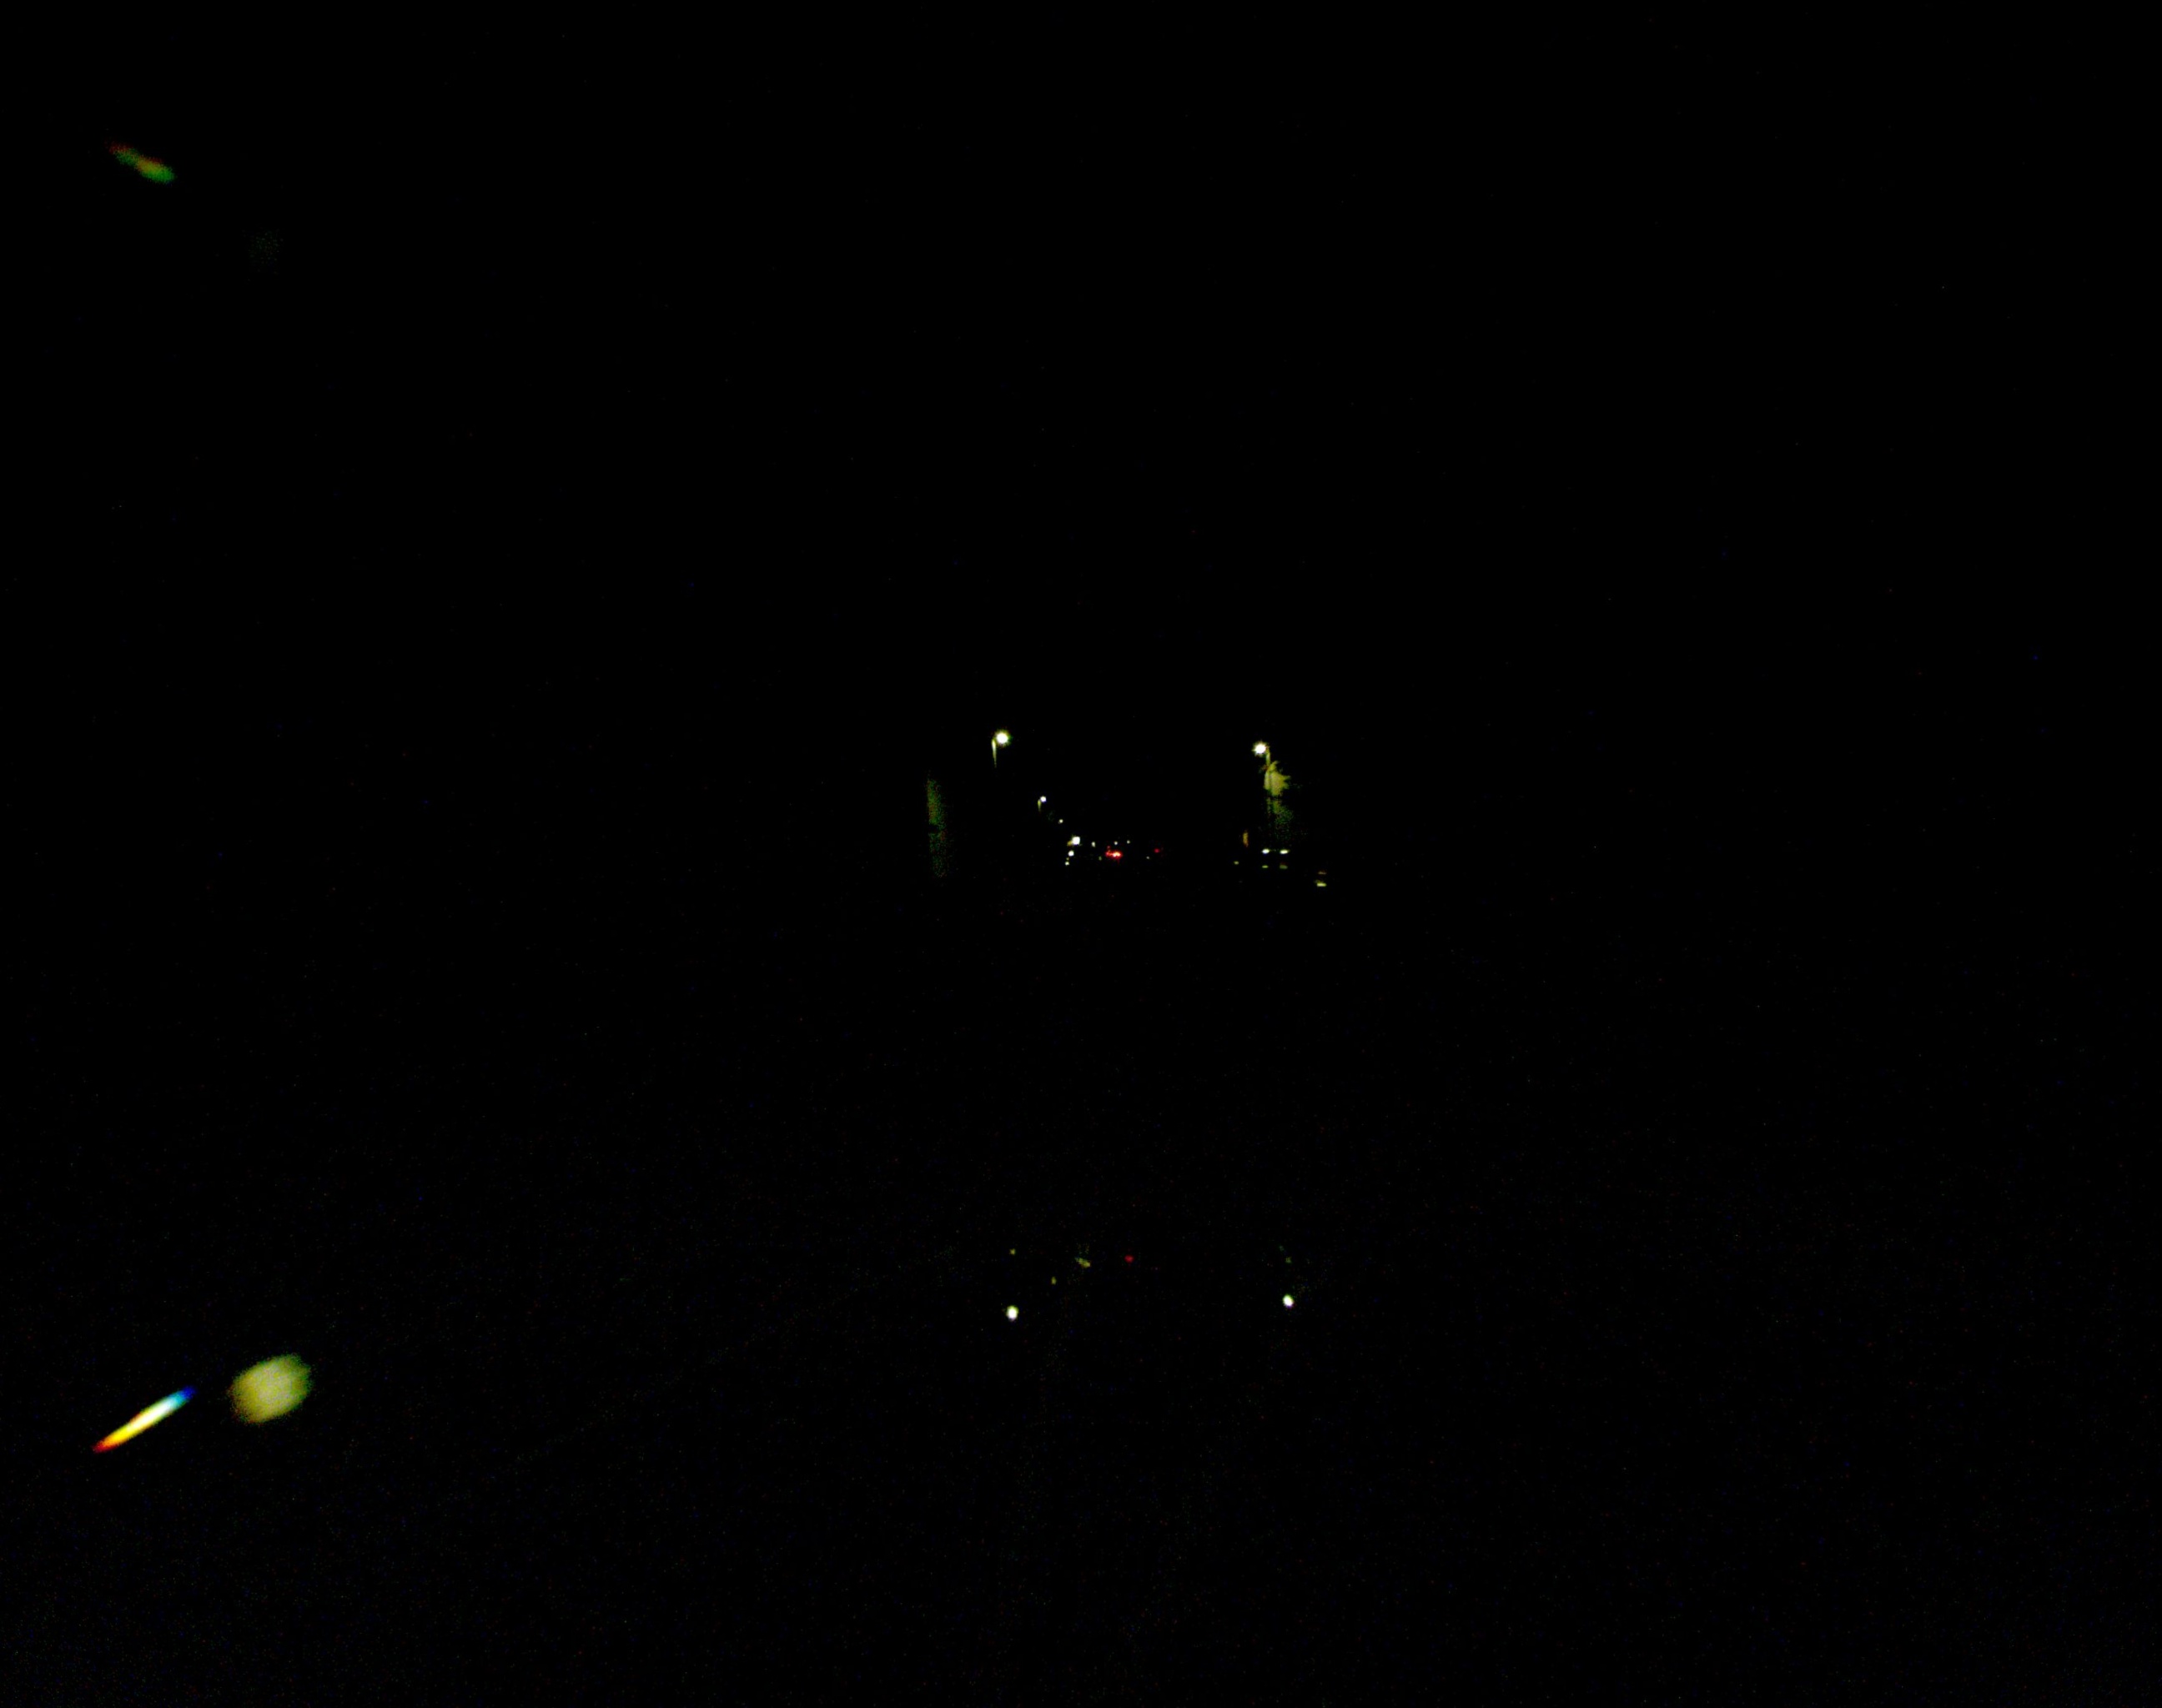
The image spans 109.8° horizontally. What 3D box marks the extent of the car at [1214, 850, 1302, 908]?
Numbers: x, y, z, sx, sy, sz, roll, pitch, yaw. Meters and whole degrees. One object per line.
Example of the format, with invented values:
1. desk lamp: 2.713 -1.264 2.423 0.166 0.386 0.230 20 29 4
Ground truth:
1. car: 5.179 0.671 22.779 1.692 1.501 4.279 -3 0 1

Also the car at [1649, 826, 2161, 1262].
1. car: 4.764 0.684 3.682 1.675 1.513 2.978 -5 0 -1

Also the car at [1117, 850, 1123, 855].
1. car: 13.109 -0.493 253.837 1.720 1.420 3.816 -2 0 4

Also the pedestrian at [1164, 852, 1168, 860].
1. pedestrian: 17.327 0.464 155.054 0.529 1.579 0.665 -3 1 -4

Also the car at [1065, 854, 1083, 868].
1. car: -0.756 0.788 86.143 1.747 1.560 4.209 -2 0 2

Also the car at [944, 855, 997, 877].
1. car: -7.800 0.830 53.887 3.514 1.516 1.820 1 1 0

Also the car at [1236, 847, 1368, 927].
1. car: 4.911 0.670 17.537 1.771 1.510 4.278 -4 0 1

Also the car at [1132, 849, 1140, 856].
1. car: 14.067 -0.292 193.266 1.814 1.637 3.804 -4 0 3

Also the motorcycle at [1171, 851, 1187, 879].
1. motorcycle: 5.351 0.603 41.597 0.747 1.444 2.197 -2 0 9

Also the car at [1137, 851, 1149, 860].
1. car: 11.367 0.272 139.288 1.900 1.411 4.931 -4 0 4

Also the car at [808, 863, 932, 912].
1. car: -7.259 1.142 26.418 3.720 1.464 1.731 -3 1 3

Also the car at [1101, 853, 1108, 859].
1. car: 5.736 0.488 188.117 1.606 1.474 3.699 -2 0 1
